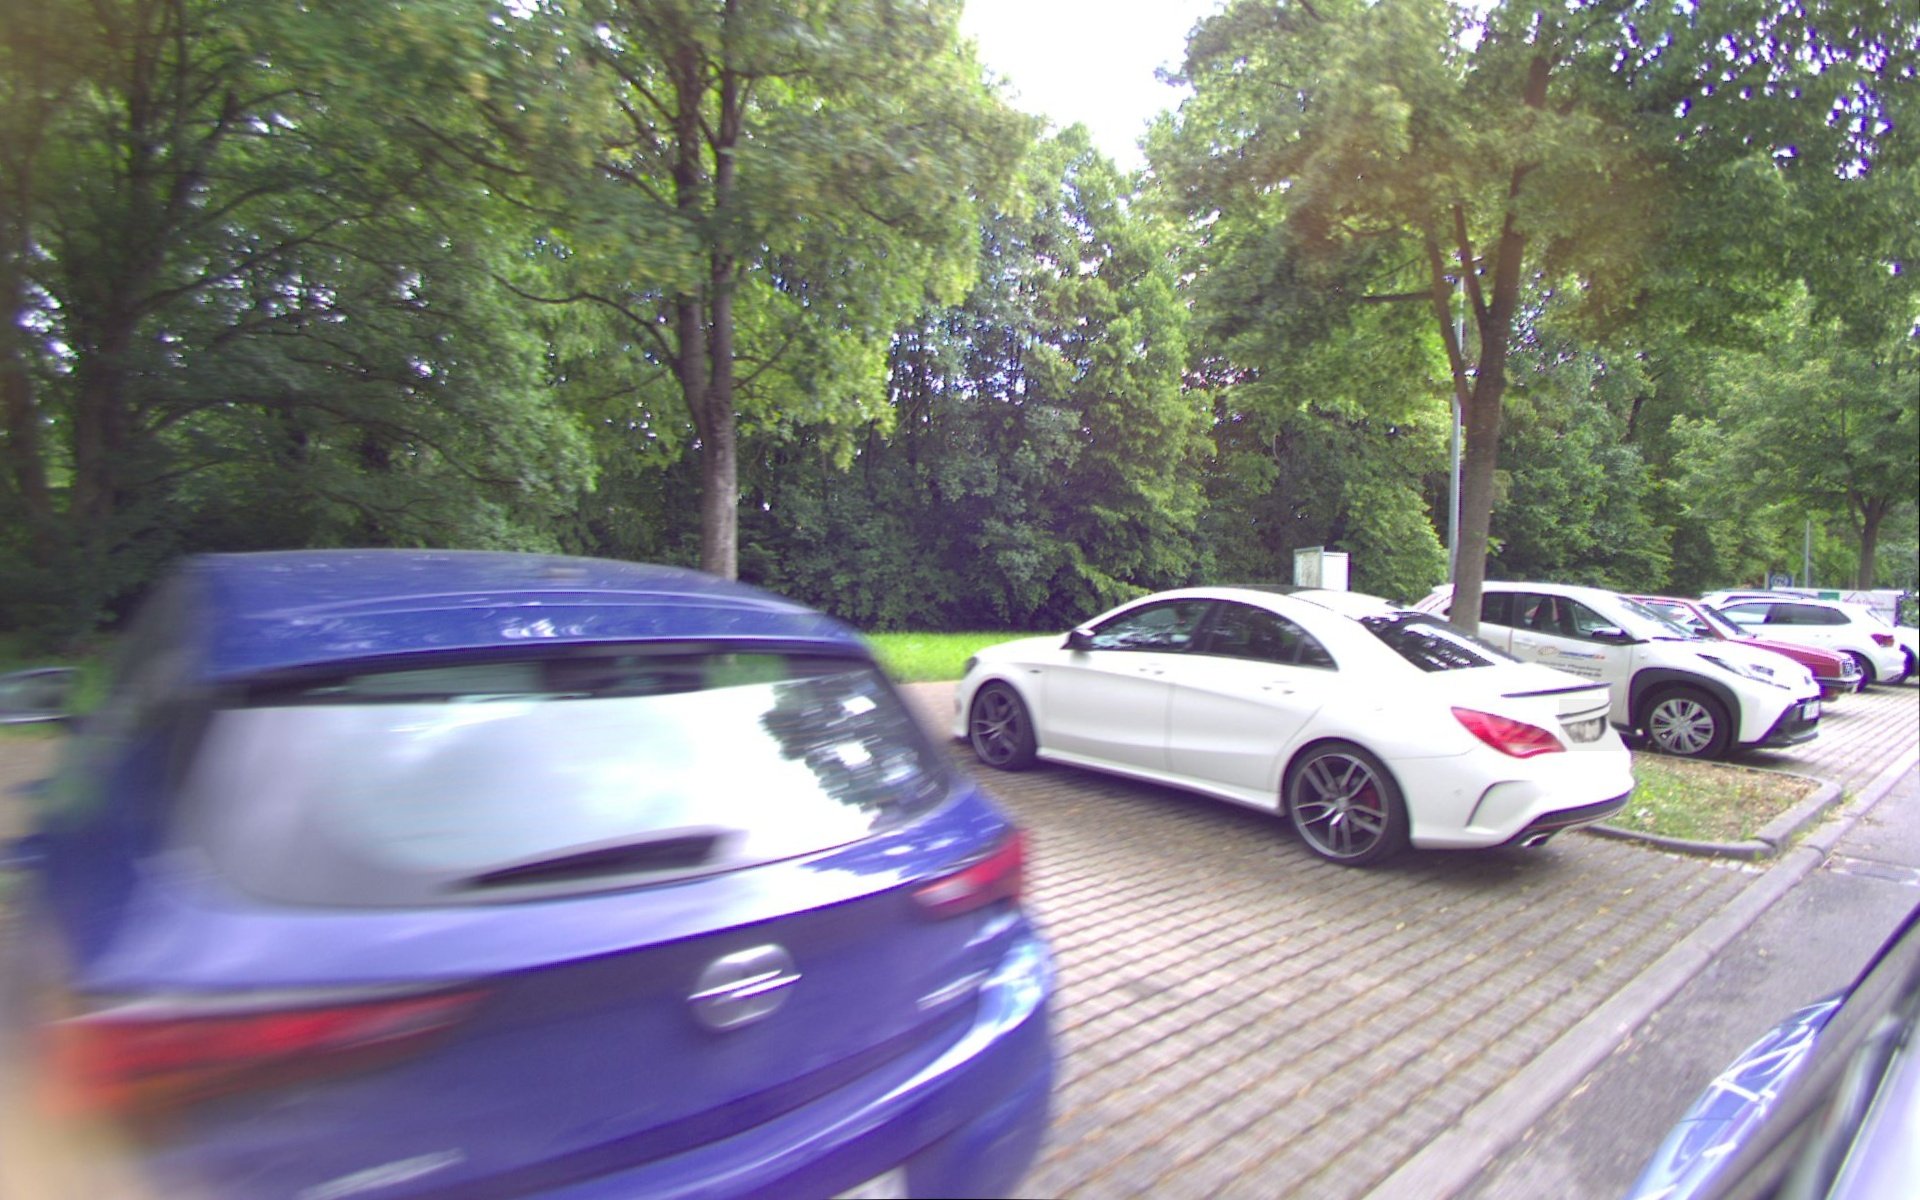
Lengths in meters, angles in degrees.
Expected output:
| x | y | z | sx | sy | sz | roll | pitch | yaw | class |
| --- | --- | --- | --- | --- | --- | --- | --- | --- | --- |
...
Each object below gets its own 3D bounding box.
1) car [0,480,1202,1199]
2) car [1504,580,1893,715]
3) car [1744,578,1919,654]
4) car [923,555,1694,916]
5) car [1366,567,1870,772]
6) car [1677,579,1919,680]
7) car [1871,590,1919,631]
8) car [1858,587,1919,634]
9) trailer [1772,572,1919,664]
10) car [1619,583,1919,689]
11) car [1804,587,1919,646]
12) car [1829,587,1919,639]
| x | y | z | sx | sy | sz | roll | pitch | yaw | class |
| --- | --- | --- | --- | --- | --- | --- | --- | --- | --- |
| -1.544 | 0.517 | 2.960 | 1.818 | 1.474 | 4.082 | 0 | 3 | -40 | car |
| 10.110 | 0.532 | 14.102 | 1.785 | 1.439 | 4.061 | 0 | 3 | -42 | car |
| 23.262 | 0.395 | 25.782 | 1.937 | 1.714 | 4.833 | 0 | 3 | -37 | car |
| 1.872 | 0.513 | 6.694 | 1.814 | 1.472 | 4.495 | 0 | 3 | -40 | car |
| 6.419 | 0.511 | 10.242 | 1.846 | 1.534 | 3.852 | 0 | 3 | -38 | car |
| 15.950 | 0.477 | 18.678 | 1.830 | 1.567 | 4.118 | 0 | 3 | -43 | car |
| 36.462 | 0.439 | 37.307 | 1.755 | 1.482 | 4.092 | 0 | 2 | -42 | car |
| 34.490 | 0.408 | 35.612 | 1.755 | 1.590 | 4.141 | 0 | 2 | -42 | car |
| 19.801 | 0.356 | 22.057 | 1.537 | 1.812 | 3.033 | 0 | 3 | -43 | trailer |
| 13.902 | 0.520 | 17.419 | 4.010 | 1.439 | 1.764 | 4 | 3 | 44 | car |
| 27.379 | 0.472 | 29.336 | 1.818 | 1.590 | 4.169 | 0 | 2 | -39 | car |
| 30.791 | 0.426 | 32.562 | 1.757 | 1.590 | 4.161 | 0 | 2 | -45 | car |
